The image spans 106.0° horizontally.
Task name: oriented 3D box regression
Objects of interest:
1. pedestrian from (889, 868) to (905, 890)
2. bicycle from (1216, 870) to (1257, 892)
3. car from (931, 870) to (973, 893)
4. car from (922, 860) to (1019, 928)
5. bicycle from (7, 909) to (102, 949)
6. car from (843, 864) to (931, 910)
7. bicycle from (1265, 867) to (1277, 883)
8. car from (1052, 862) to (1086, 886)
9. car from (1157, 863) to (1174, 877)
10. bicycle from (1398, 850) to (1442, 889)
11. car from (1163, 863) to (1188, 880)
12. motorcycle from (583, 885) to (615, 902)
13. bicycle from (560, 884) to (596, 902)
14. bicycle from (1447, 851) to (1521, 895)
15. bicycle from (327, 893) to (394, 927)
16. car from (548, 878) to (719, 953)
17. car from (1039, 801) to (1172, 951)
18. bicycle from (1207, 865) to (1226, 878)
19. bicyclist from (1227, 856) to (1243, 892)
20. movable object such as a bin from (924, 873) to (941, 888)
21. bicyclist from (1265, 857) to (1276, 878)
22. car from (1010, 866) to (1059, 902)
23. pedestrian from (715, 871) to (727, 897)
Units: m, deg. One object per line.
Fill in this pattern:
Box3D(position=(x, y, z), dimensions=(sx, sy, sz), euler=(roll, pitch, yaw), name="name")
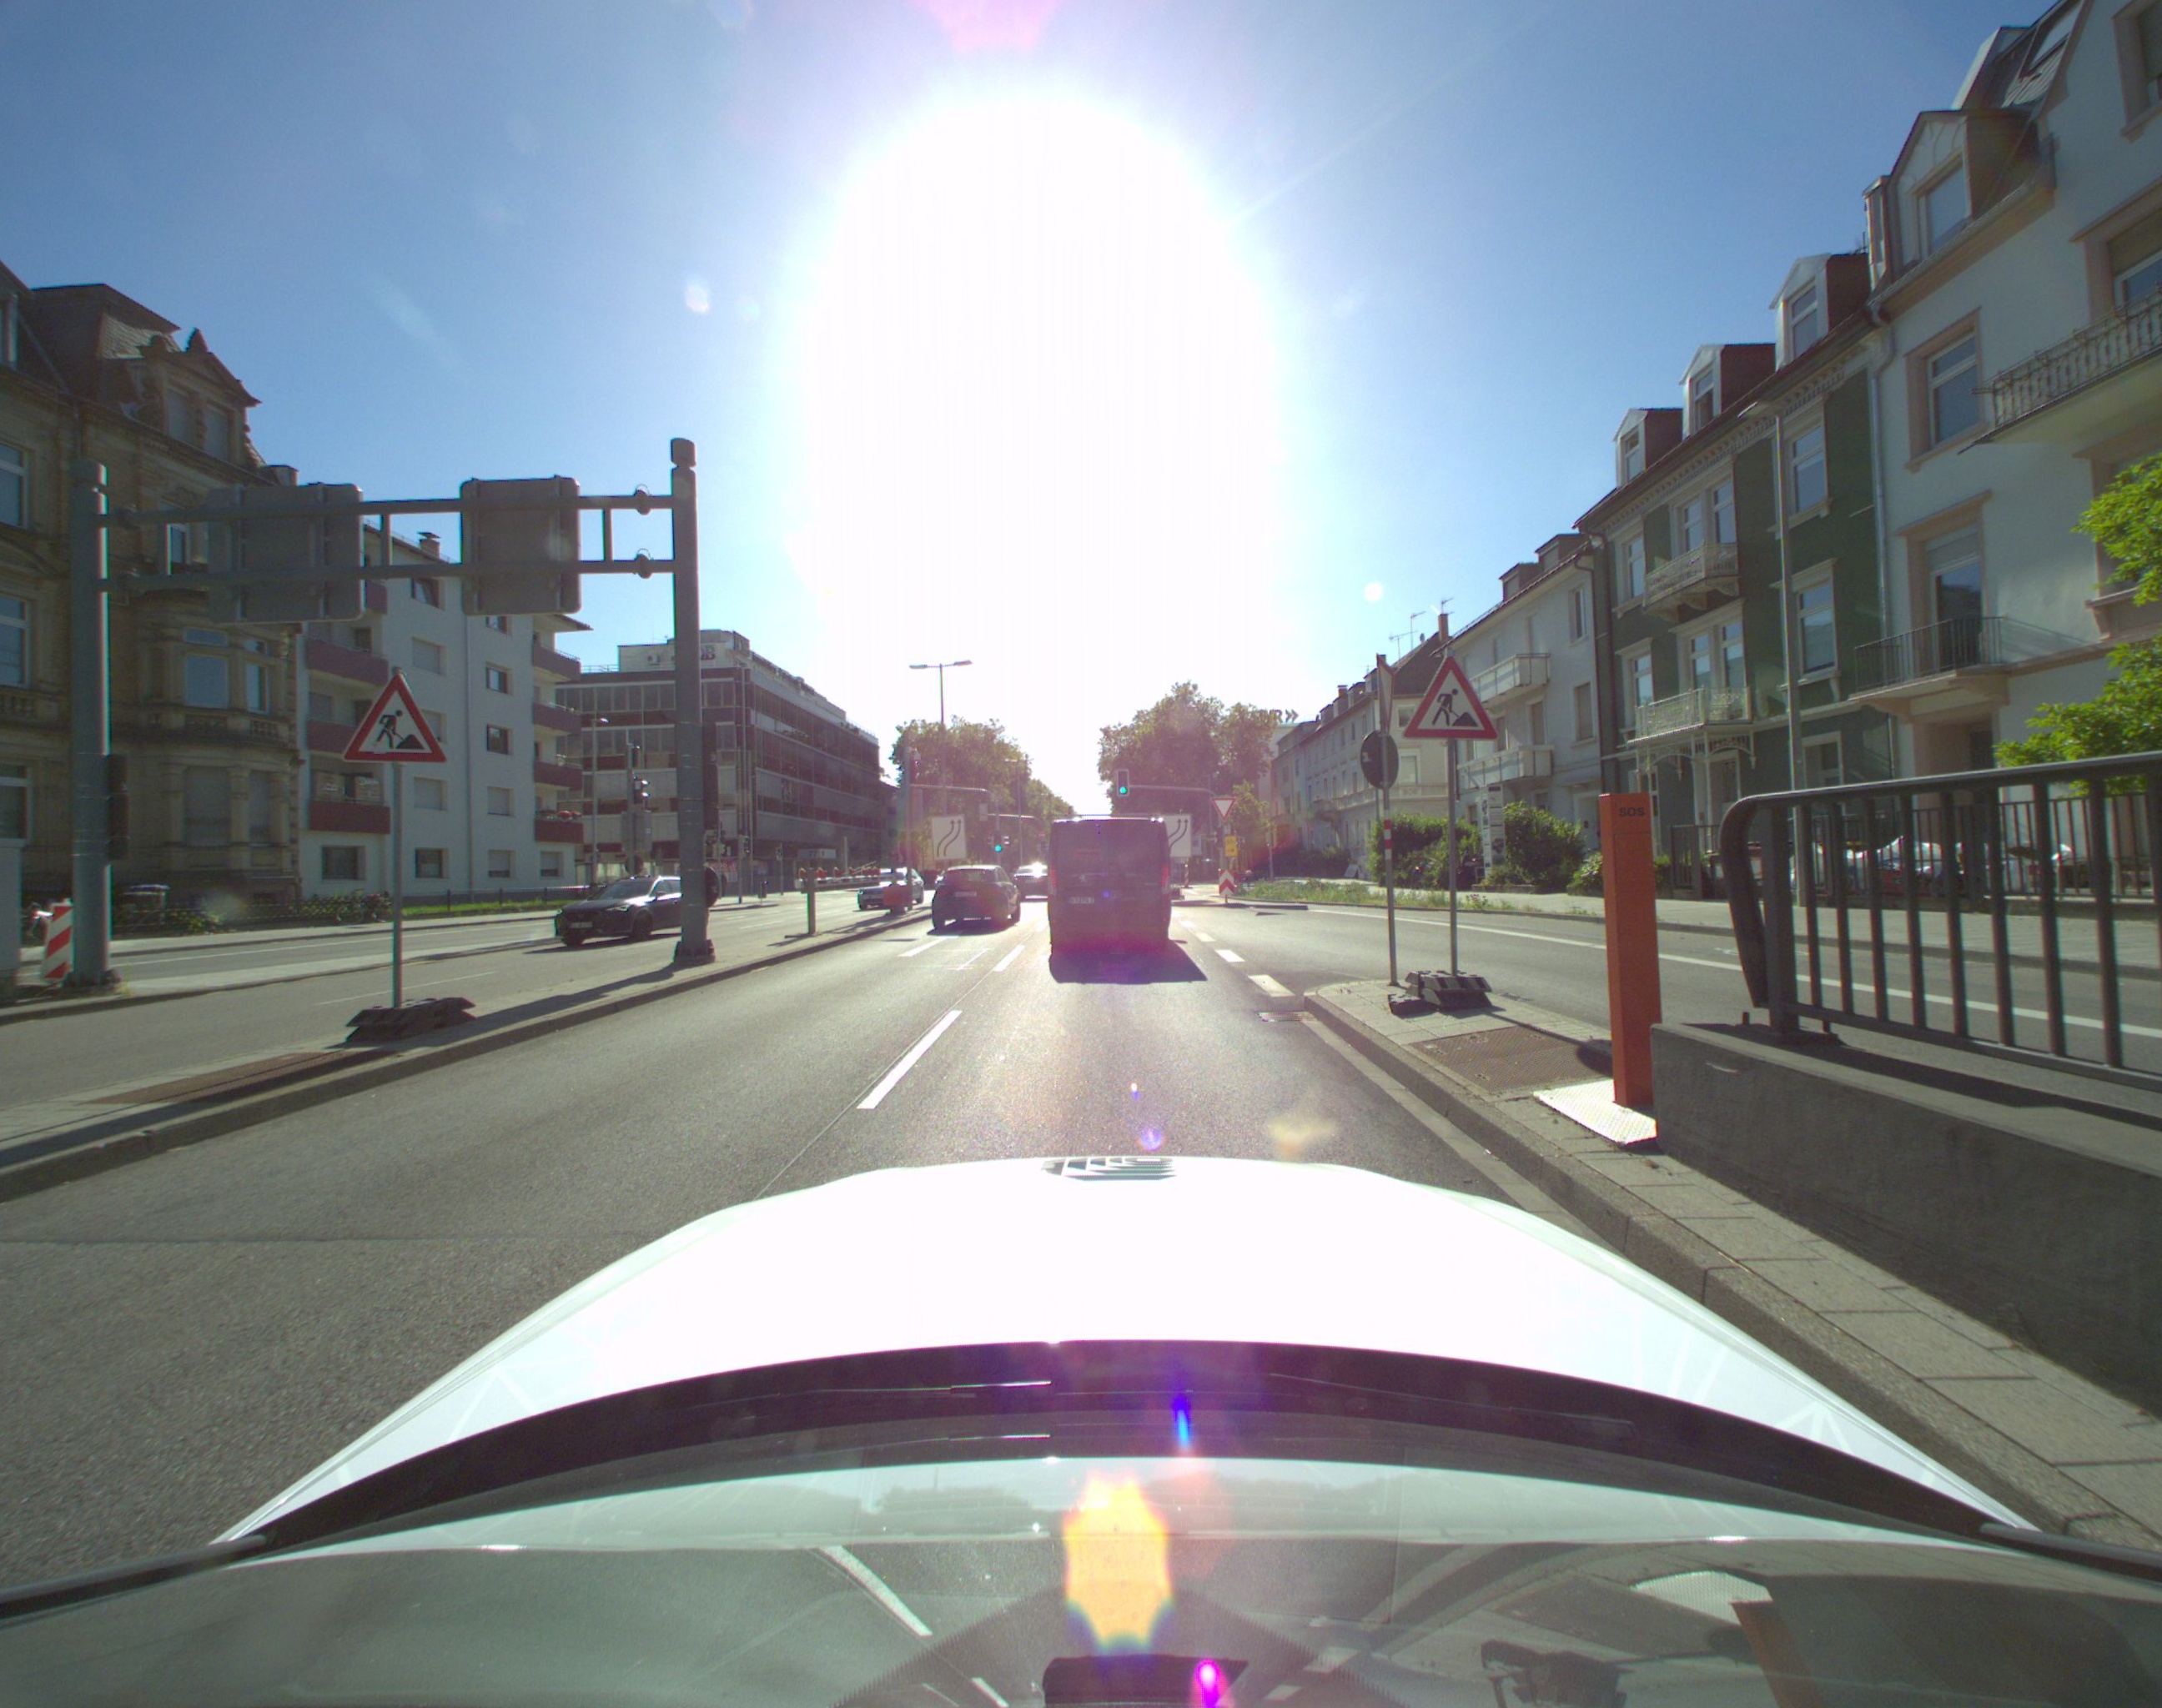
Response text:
Box3D(position=(-14.440, 1.982, 64.079), dimensions=(0.859, 1.711, 1.015), euler=(-2, -1, 9), name="pedestrian")
Box3D(position=(7.661, 1.332, 40.155), dimensions=(1.955, 1.025, 0.605), euler=(0, 0, 1), name="bicycle")
Box3D(position=(-9.206, 1.943, 58.467), dimensions=(1.985, 1.453, 4.395), euler=(-2, 0, 4), name="car")
Box3D(position=(-2.578, 0.894, 19.869), dimensions=(1.740, 1.407, 4.001), euler=(0, 0, 1), name="car")
Box3D(position=(-23.147, 1.674, 18.396), dimensions=(0.297, 0.771, 1.415), euler=(-2, -1, 3), name="bicycle")
Box3D(position=(-7.445, 1.229, 31.810), dimensions=(1.985, 1.453, 4.622), euler=(-3, 0, 4), name="car")
Box3D(position=(14.239, 1.576, 61.094), dimensions=(0.685, 1.098, 1.690), euler=(-2, -1, 7), name="bicycle")
Box3D(position=(-0.716, 1.264, 52.657), dimensions=(1.903, 1.444, 4.606), euler=(0, 0, 3), name="car")
Box3D(position=(9.967, 1.888, 96.354), dimensions=(1.756, 1.508, 4.253), euler=(-1, -1, 2), name="car")
Box3D(position=(13.124, 0.583, 31.585), dimensions=(0.705, 1.443, 2.492), euler=(0, 0, 1), name="bicycle")
Box3D(position=(8.942, 1.648, 77.142), dimensions=(1.845, 1.479, 4.942), euler=(-1, -1, 1), name="car")
Box3D(position=(-27.885, 2.272, 47.164), dimensions=(0.500, 0.936, 1.847), euler=(-2, -1, 10), name="motorcycle")
Box3D(position=(-29.496, 2.282, 47.749), dimensions=(0.502, 0.978, 1.894), euler=(-2, -1, 19), name="bicycle")
Box3D(position=(14.322, 0.665, 28.980), dimensions=(2.247, 1.485, 0.638), euler=(-2, -1, 0), name="bicycle")
Box3D(position=(-22.793, 1.759, 25.796), dimensions=(0.303, 0.958, 1.941), euler=(-2, -1, 3), name="bicycle")
Box3D(position=(-10.820, 1.420, 20.089), dimensions=(1.601, 1.441, 4.313), euler=(-5, 0, 2), name="car")
Box3D(position=(0.450, 0.365, 14.967), dimensions=(2.087, 2.355, 3.934), euler=(-1, -1, 2), name="car")
Box3D(position=(11.372, 1.458, 68.336), dimensions=(0.581, 1.005, 2.145), euler=(-2, -1, 37), name="bicycle")
Box3D(position=(7.600, 0.983, 40.217), dimensions=(0.601, 1.708, 0.859), euler=(-2, -1, 2), name="bicyclist")
Box3D(position=(-14.285, 2.556, 78.480), dimensions=(1.109, 1.388, 1.857), euler=(-2, -1, 4), name="movable object such as a bin")
Box3D(position=(14.214, 1.002, 61.053), dimensions=(0.719, 1.499, 0.873), euler=(-2, -1, 9), name="bicyclist")
Box3D(position=(-1.897, 1.242, 34.374), dimensions=(1.740, 1.407, 4.000), euler=(0, -2, 1), name="car")
Box3D(position=(-23.937, 1.988, 54.144), dimensions=(0.702, 1.658, 0.739), euler=(-1, -1, -28), name="pedestrian")
